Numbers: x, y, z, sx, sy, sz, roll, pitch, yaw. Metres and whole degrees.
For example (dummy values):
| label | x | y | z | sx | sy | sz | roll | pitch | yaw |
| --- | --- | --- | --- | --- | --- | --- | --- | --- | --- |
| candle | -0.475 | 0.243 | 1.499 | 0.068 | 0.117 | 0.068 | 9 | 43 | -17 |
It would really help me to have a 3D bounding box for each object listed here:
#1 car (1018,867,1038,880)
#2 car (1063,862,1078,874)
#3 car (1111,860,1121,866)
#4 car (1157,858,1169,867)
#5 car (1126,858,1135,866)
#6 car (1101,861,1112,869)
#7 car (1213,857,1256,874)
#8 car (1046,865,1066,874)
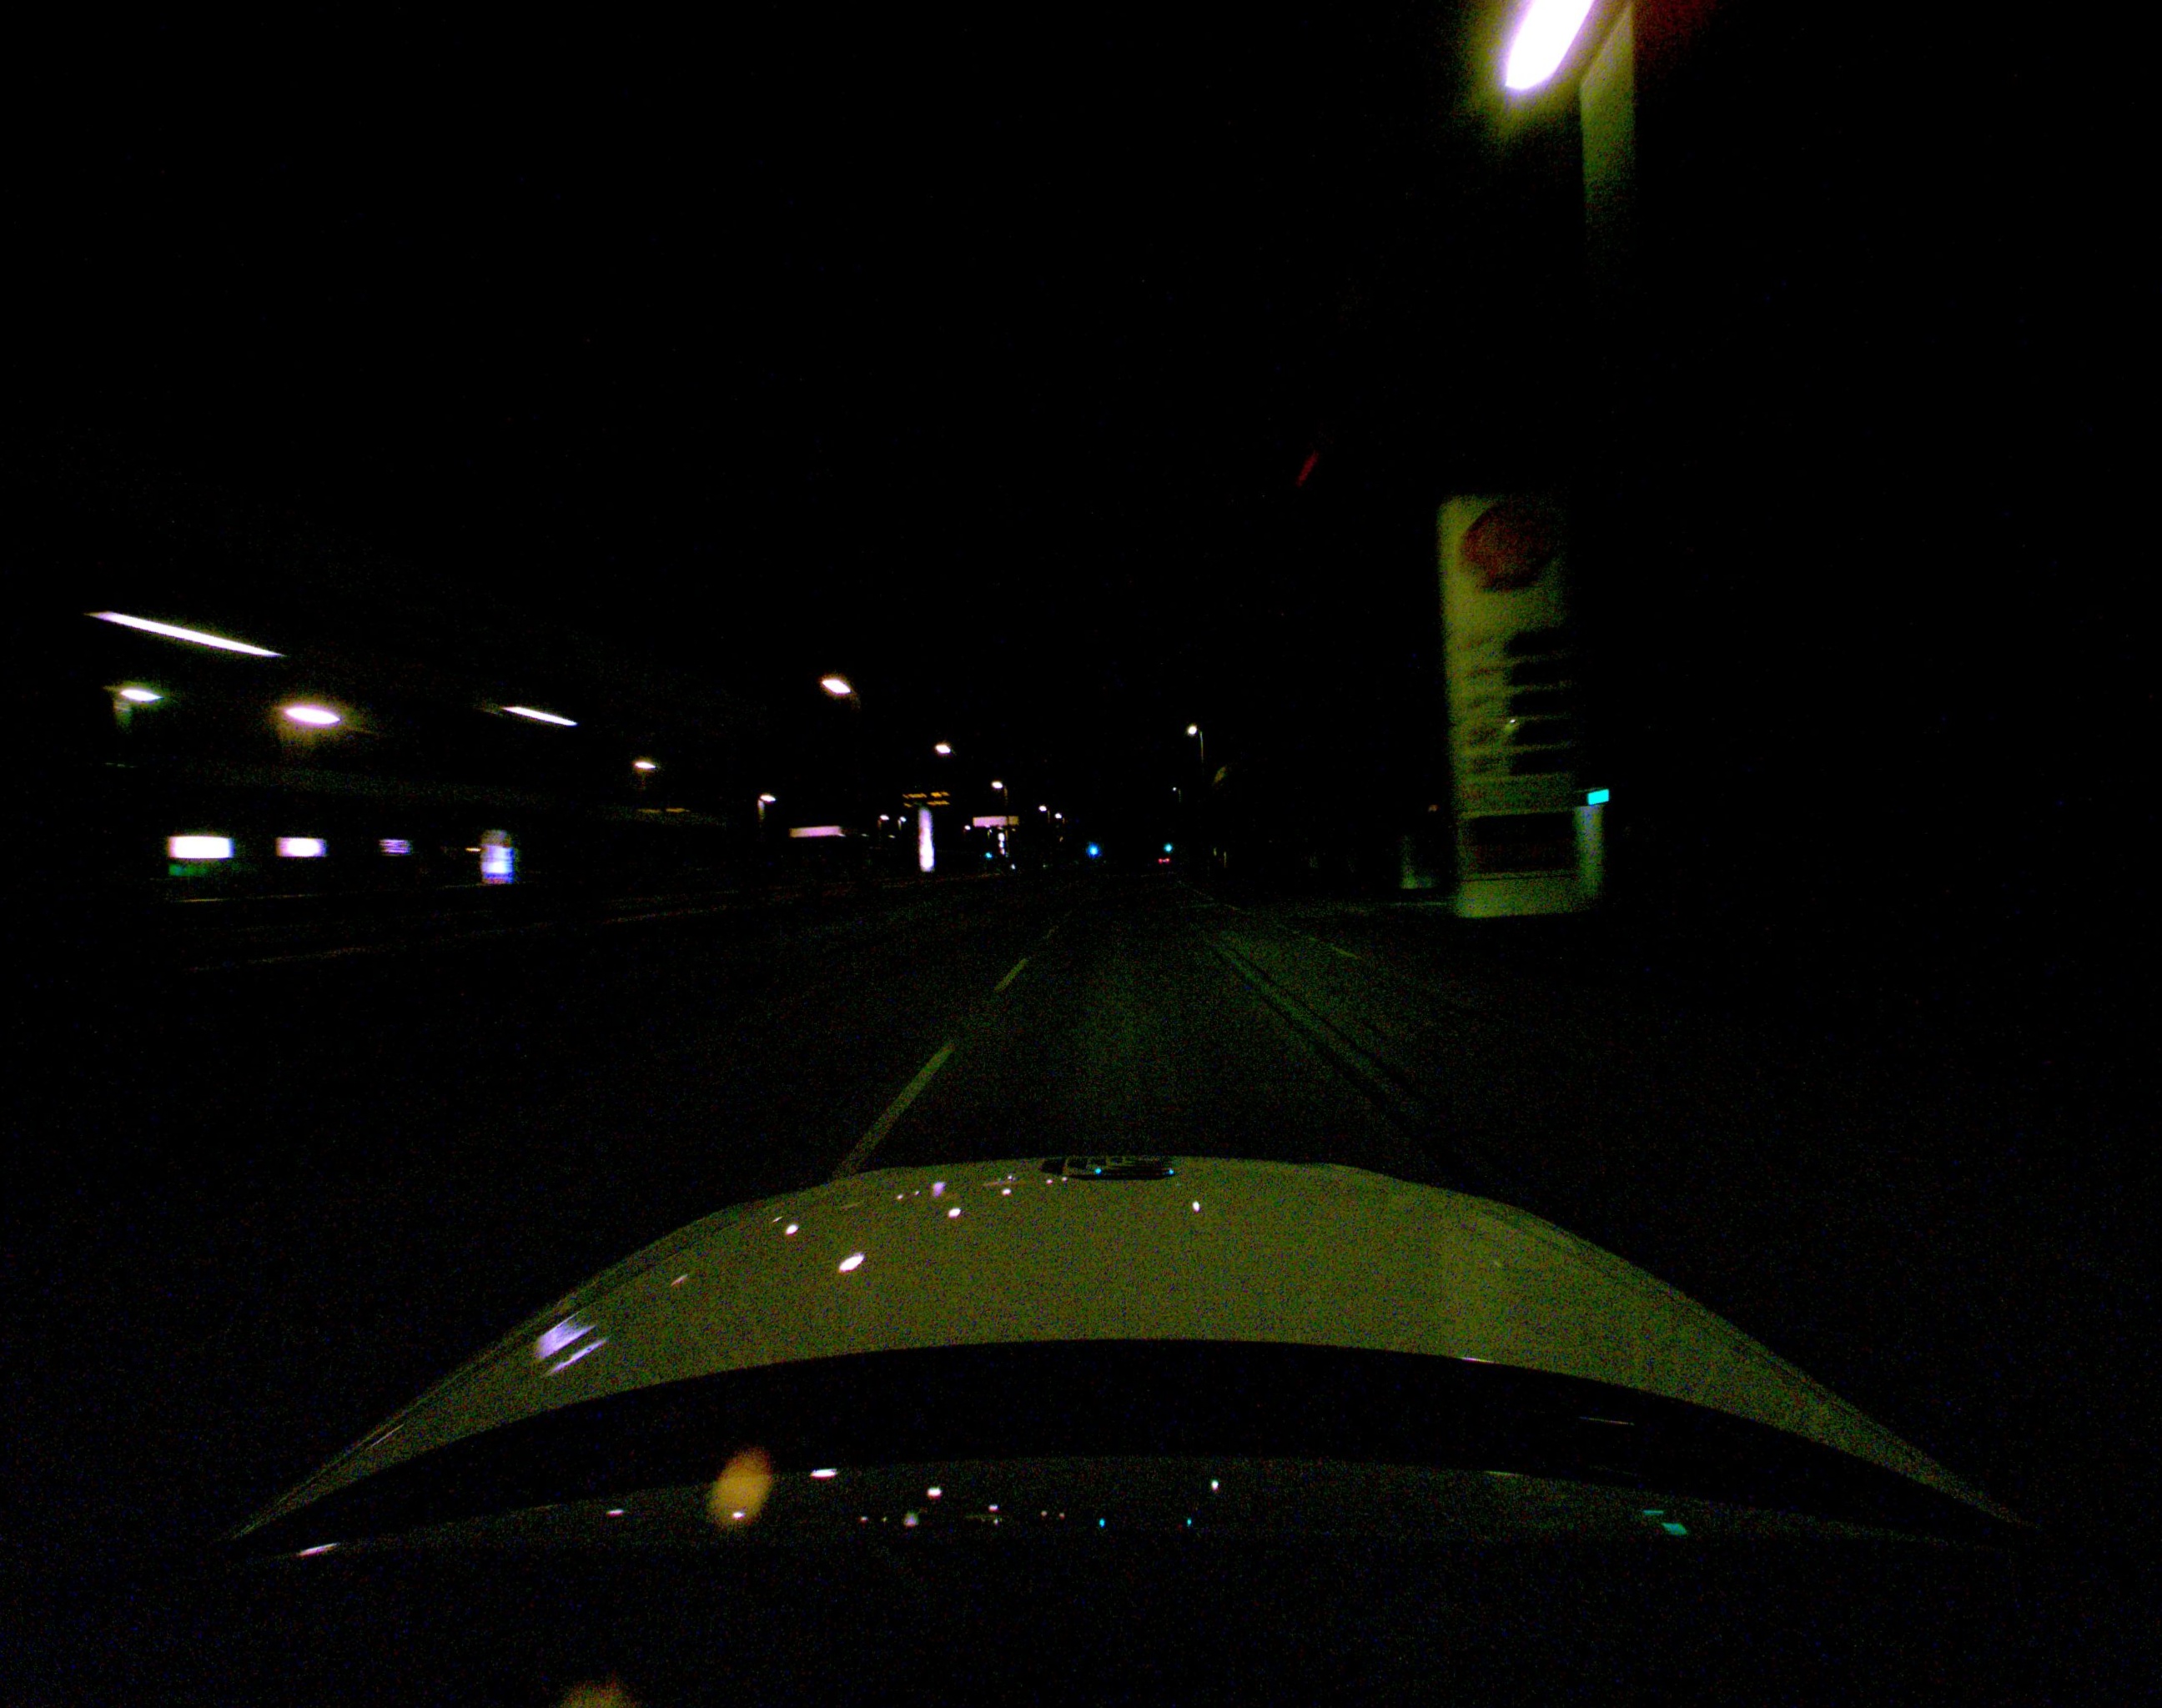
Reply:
| label | x | y | z | sx | sy | sz | roll | pitch | yaw |
| --- | --- | --- | --- | --- | --- | --- | --- | --- | --- |
| car | -6.898 | 2.535 | 106.545 | 1.636 | 1.339 | 4.553 | -7 | -1 | 8 |
| car | -1.754 | 2.373 | 139.732 | 1.847 | 1.904 | 4.888 | -2 | -1 | 6 |
| car | 8.899 | 2.362 | 207.225 | 1.982 | 1.338 | 5.445 | -3 | -1 | 8 |
| car | 15.088 | 1.602 | 150.244 | 2.151 | 1.583 | 4.019 | -2 | -1 | 5 |
| car | 14.436 | 2.355 | 237.221 | 2.080 | 2.013 | 4.010 | -7 | -1 | 8 |
| car | 5.865 | 2.574 | 187.560 | 1.982 | 1.628 | 4.688 | -3 | -1 | 8 |
| car | 14.341 | 1.049 | 76.196 | 3.745 | 1.354 | 1.862 | -3 | -1 | 6 |
| car | -3.958 | 2.487 | 128.313 | 3.015 | 1.326 | 1.535 | -2 | -1 | 4 |
